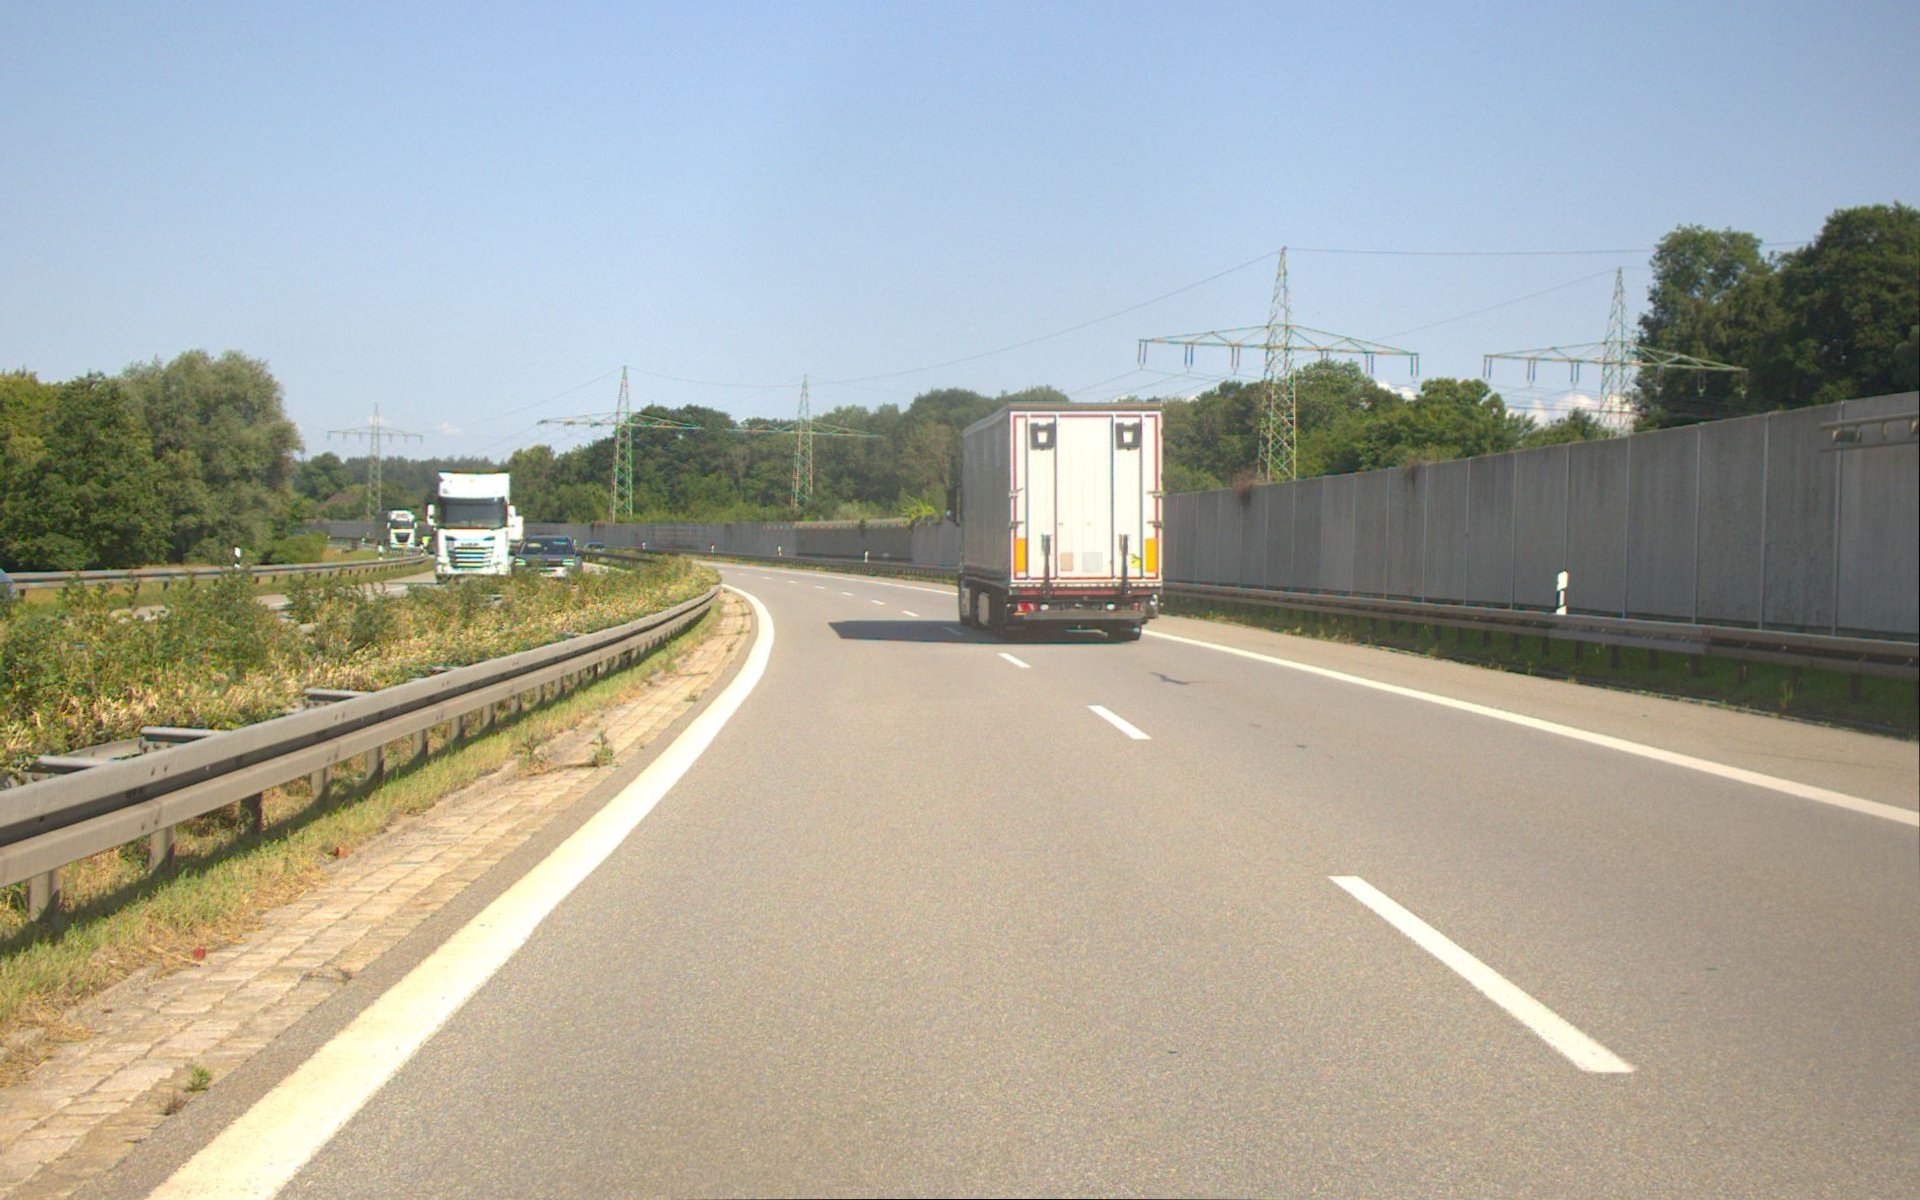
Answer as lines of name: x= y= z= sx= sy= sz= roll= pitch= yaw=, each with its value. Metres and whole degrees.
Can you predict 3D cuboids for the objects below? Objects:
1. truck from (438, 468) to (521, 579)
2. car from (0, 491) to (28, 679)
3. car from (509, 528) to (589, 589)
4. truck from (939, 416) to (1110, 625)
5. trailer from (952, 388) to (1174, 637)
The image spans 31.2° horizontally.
truck: x=-17.090 y=-2.688 z=122.464 sx=2.624 sy=3.826 sz=6.811 roll=1 pitch=1 yaw=-6
car: x=-8.152 y=-0.095 z=25.163 sx=1.659 sy=1.445 sz=4.247 roll=0 pitch=1 yaw=-2
car: x=-11.202 y=-1.122 z=93.904 sx=1.842 sy=1.601 sz=4.000 roll=1 pitch=1 yaw=-2
truck: x=1.235 y=-1.568 z=69.670 sx=2.830 sy=3.998 sz=6.588 roll=1 pitch=0 yaw=-4
trailer: x=1.689 y=-1.499 z=62.783 sx=2.884 sy=4.052 sz=12.422 roll=1 pitch=0 yaw=-3
